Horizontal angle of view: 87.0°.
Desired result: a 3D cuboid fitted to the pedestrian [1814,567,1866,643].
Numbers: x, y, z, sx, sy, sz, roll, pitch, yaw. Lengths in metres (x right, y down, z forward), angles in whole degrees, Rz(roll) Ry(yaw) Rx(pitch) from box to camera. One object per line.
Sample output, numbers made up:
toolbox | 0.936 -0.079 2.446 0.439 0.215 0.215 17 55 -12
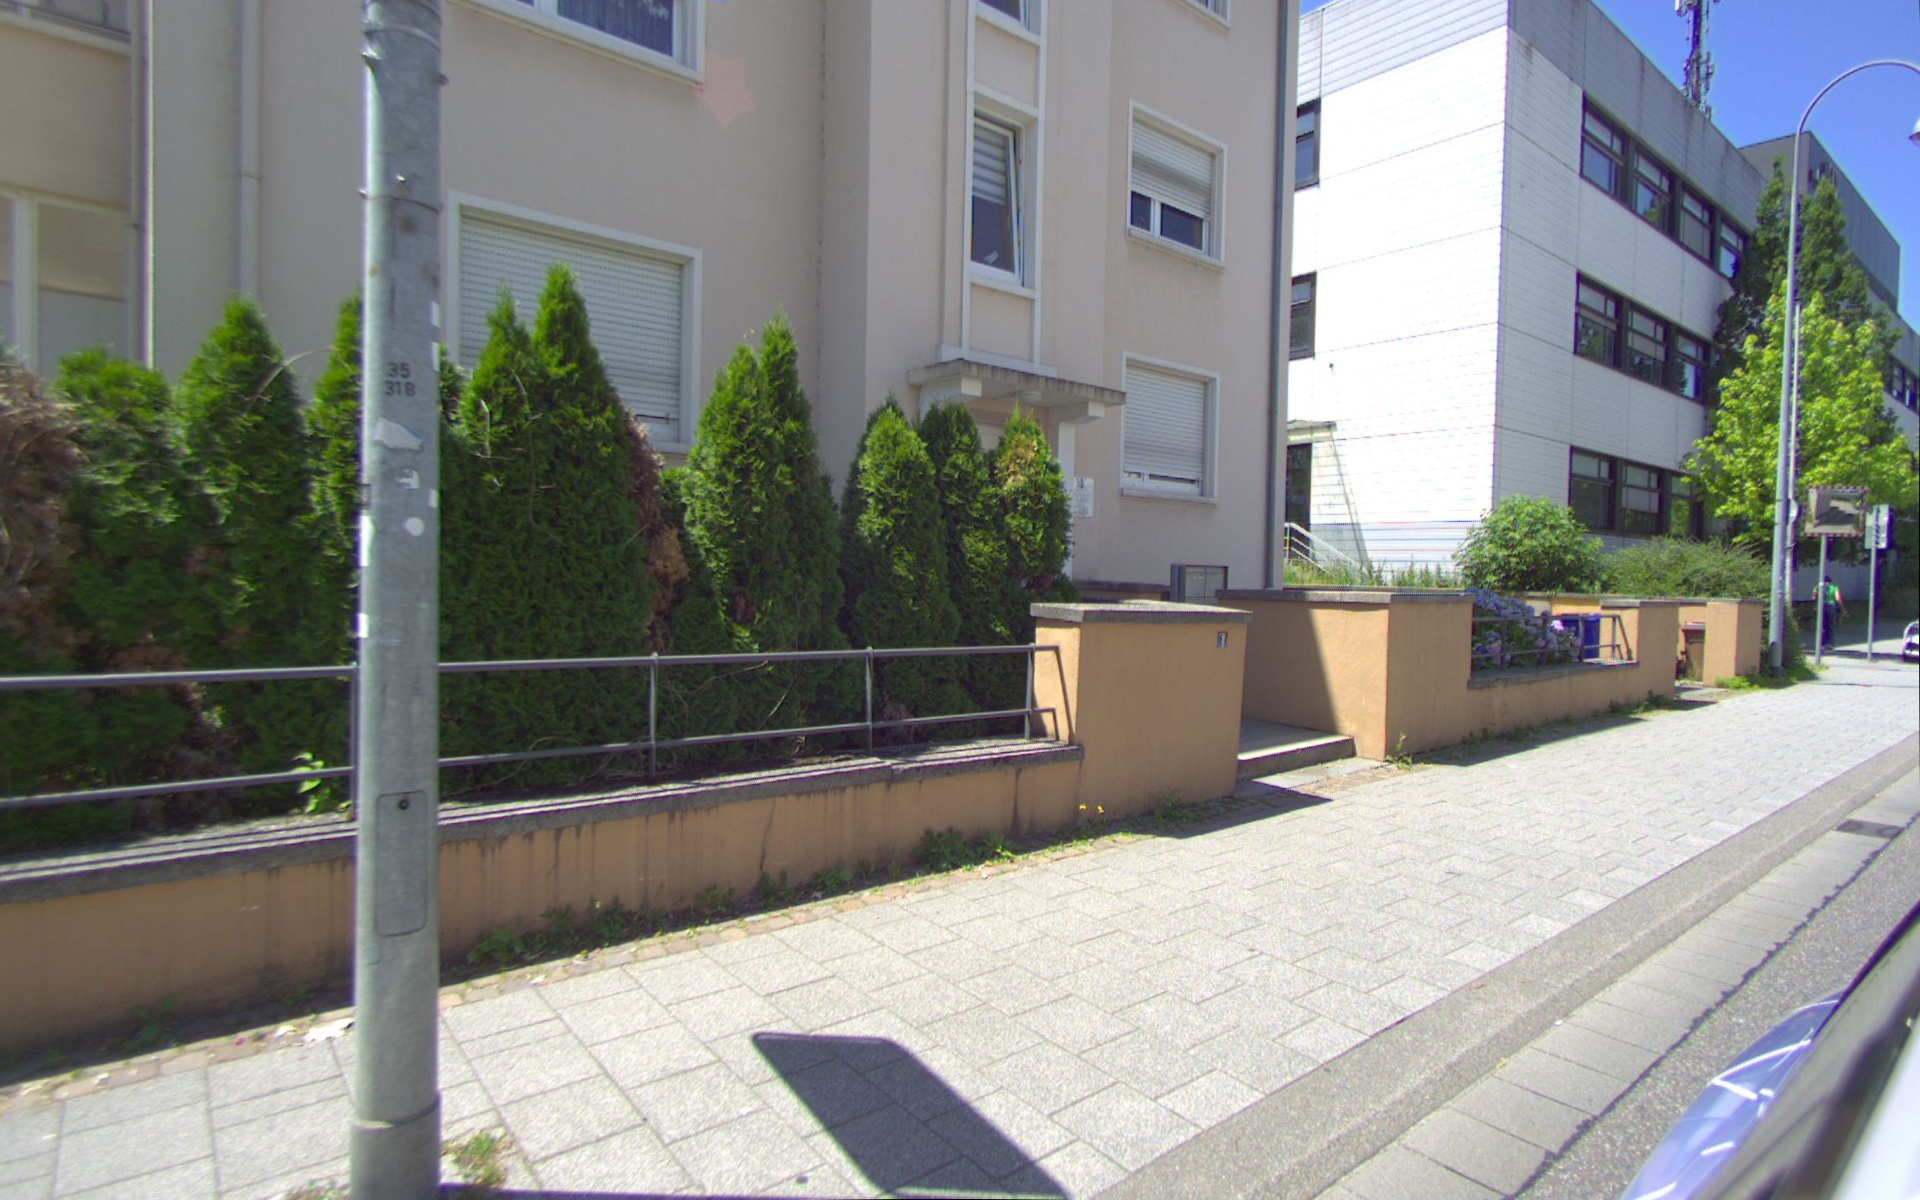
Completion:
pedestrian | 20.849 0.101 23.970 1.031 1.720 0.681 -1 4 -39

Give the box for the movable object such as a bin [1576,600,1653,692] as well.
movable object such as a bin | 8.457 0.579 13.087 0.621 1.113 0.626 0 2 -37

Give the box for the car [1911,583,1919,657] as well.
car | 21.827 0.435 21.397 4.794 1.487 1.920 0 3 -40
